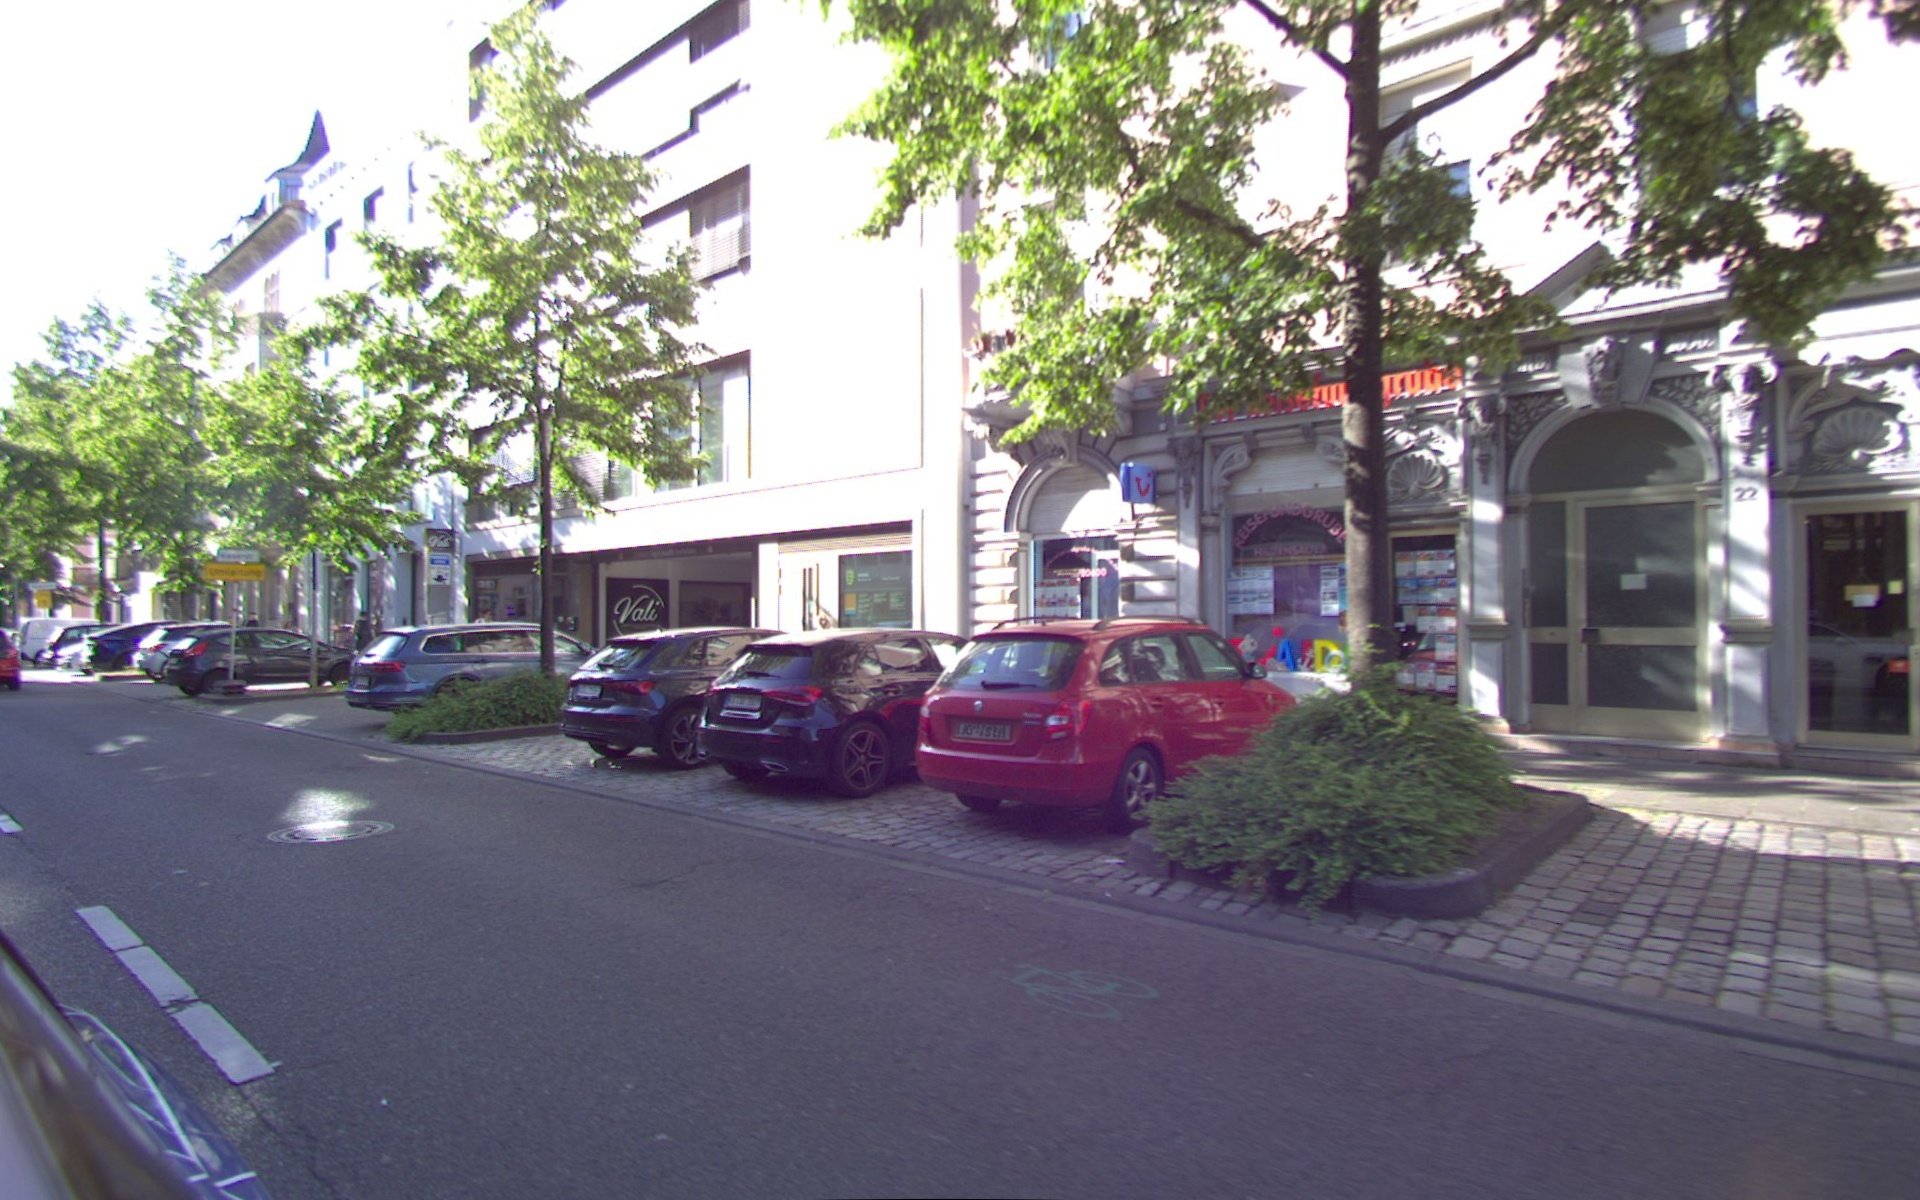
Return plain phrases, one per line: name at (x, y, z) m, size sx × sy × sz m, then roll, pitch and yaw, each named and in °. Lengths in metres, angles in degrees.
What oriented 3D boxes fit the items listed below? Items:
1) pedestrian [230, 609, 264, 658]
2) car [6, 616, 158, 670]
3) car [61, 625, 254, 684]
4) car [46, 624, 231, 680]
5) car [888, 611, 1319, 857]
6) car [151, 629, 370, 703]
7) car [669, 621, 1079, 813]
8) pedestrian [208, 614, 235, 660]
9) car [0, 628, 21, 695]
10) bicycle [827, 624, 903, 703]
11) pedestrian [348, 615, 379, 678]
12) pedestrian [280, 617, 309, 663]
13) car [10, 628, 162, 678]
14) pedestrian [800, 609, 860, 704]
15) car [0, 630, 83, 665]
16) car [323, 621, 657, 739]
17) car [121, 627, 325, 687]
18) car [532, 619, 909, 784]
pedestrian at (-26.835, 1.244, 38.113) m, size 0.762 × 1.779 × 0.767 m, roll -1°, pitch 2°, yaw 39°
car at (-32.843, 1.569, 37.934) m, size 2.038 × 1.850 × 4.062 m, roll -2°, pitch -1°, yaw 41°
car at (-24.181, 1.596, 30.607) m, size 1.979 × 1.582 × 4.320 m, roll -2°, pitch -2°, yaw 41°
car at (-26.028, 1.602, 32.169) m, size 1.945 × 1.582 × 4.320 m, roll -2°, pitch -2°, yaw 41°
car at (1.342, 0.859, 8.200) m, size 1.738 × 1.479 × 3.709 m, roll -2°, pitch -1°, yaw 40°
car at (-15.733, 1.428, 22.907) m, size 1.778 × 1.470 × 3.744 m, roll -2°, pitch -2°, yaw 38°
car at (-0.682, 0.958, 9.900) m, size 1.789 × 1.439 × 3.800 m, roll -2°, pitch -1°, yaw 42°
pedestrian at (-27.363, 1.354, 37.486) m, size 0.726 × 1.638 × 0.560 m, roll -1°, pitch 2°, yaw 39°
car at (-23.767, 1.437, 24.104) m, size 3.759 × 1.547 × 1.641 m, roll -2°, pitch -3°, yaw 41°
bicycle at (-1.538, 1.000, 16.309) m, size 1.298 × 1.201 × 0.451 m, roll -2°, pitch 0°, yaw 45°
pedestrian at (-17.540, 1.360, 29.764) m, size 0.690 × 1.811 × 0.747 m, roll 0°, pitch -2°, yaw -37°
pedestrian at (-22.374, 1.351, 34.025) m, size 0.842 × 1.505 × 0.586 m, roll -2°, pitch 0°, yaw 42°
car at (-30.011, 1.774, 34.835) m, size 1.791 × 1.570 × 3.760 m, roll -2°, pitch -2°, yaw 41°
pedestrian at (-2.035, 0.870, 15.798) m, size 0.502 × 1.419 × 0.825 m, roll -1°, pitch -1°, yaw -45°
car at (-42.816, 2.175, 46.369) m, size 1.708 × 1.475 × 3.742 m, roll -2°, pitch -1°, yaw 38°
car at (-7.239, 1.134, 15.984) m, size 1.789 × 1.470 × 4.447 m, roll -2°, pitch 0°, yaw 40°
car at (-20.313, 1.524, 28.049) m, size 1.977 × 1.470 × 4.206 m, roll -2°, pitch -2°, yaw 37°
car at (-2.576, 0.998, 11.538) m, size 1.770 × 1.497 × 3.877 m, roll -2°, pitch -1°, yaw 42°
